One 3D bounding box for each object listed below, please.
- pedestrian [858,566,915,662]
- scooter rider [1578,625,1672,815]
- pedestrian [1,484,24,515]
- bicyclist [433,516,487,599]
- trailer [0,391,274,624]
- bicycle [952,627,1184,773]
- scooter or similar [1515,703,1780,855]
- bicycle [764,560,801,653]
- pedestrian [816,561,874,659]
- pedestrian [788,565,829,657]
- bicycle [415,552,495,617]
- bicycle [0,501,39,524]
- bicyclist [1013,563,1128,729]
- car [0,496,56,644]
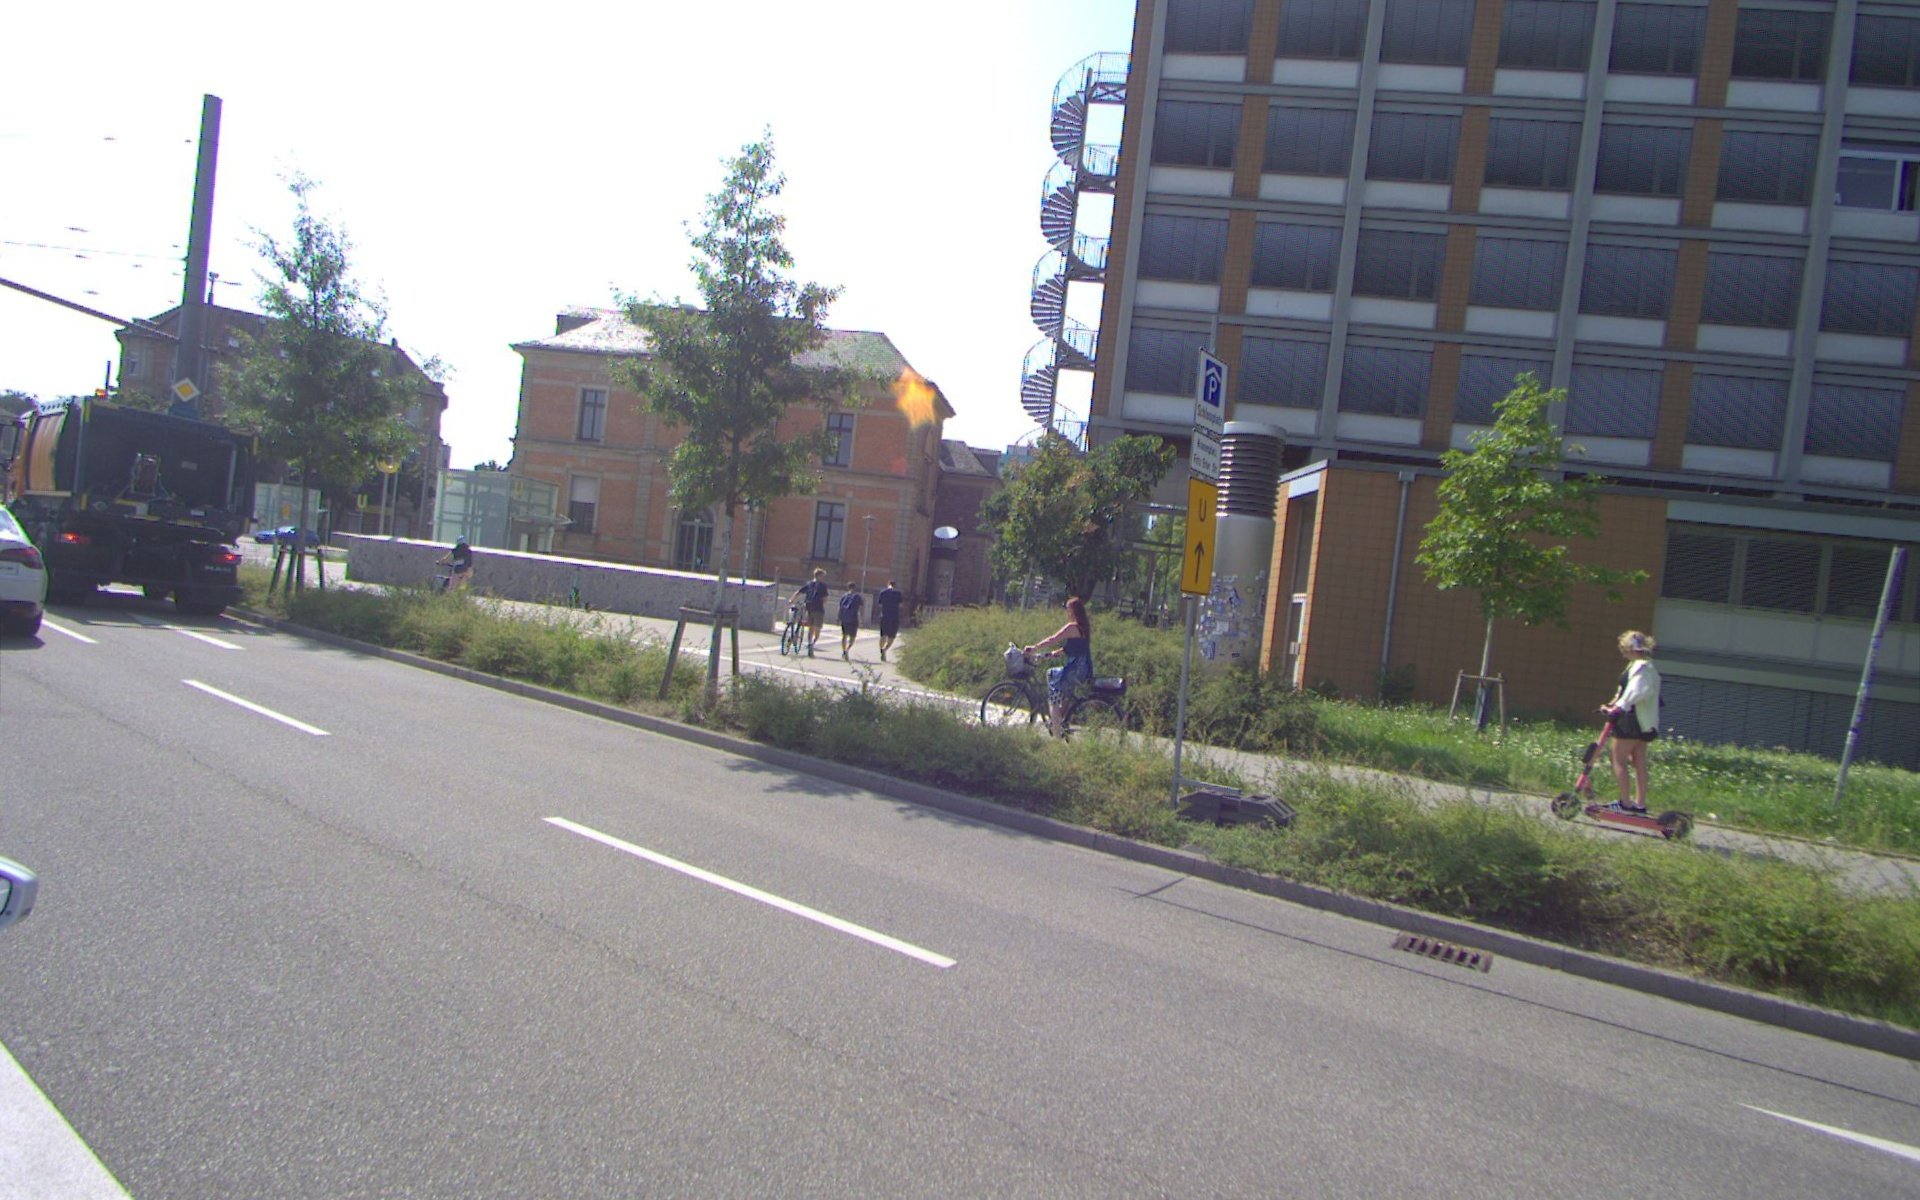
[{"bbox_3d":[-1.617,0.309,22.061,0.774,1.998,0.745,5,1,-38],"label":"pedestrian"},{"bbox_3d":[6.453,1.136,9.796,0.530,1.723,0.670,6,4,26],"label":"scooter rider"},{"bbox_3d":[-51.632,-5.460,54.834,0.657,1.554,0.709,6,1,-30],"label":"pedestrian"},{"bbox_3d":[-9.769,-0.835,19.655,0.792,1.515,0.548,7,1,39],"label":"bicyclist"},{"bbox_3d":[-14.170,-1.539,16.917,6.233,3.043,2.462,7,-1,40],"label":"trailer"},{"bbox_3d":[1.102,1.000,10.725,2.334,1.170,0.693,7,3,36],"label":"bicycle"},{"bbox_3d":[6.568,1.689,9.754,1.969,1.075,0.556,6,4,27],"label":"scooter or similar"},{"bbox_3d":[-3.774,0.136,21.471,0.448,1.884,1.361,6,1,-4],"label":"bicycle"},{"bbox_3d":[-2.488,0.212,21.699,0.774,1.998,0.745,5,1,-38],"label":"pedestrian"},{"bbox_3d":[-3.247,0.227,21.591,0.650,1.883,0.792,6,1,-6],"label":"pedestrian"},{"bbox_3d":[-9.934,-0.319,19.757,1.975,1.073,0.556,7,1,39],"label":"bicycle"},{"bbox_3d":[-51.671,-4.778,54.870,1.963,1.031,0.709,7,0,-31],"label":"bicycle"},{"bbox_3d":[1.172,0.468,10.675,0.831,1.621,0.689,7,4,36],"label":"bicyclist"},{"bbox_3d":[-11.732,-0.551,11.134,4.359,1.472,1.757,7,-1,38],"label":"car"}]
